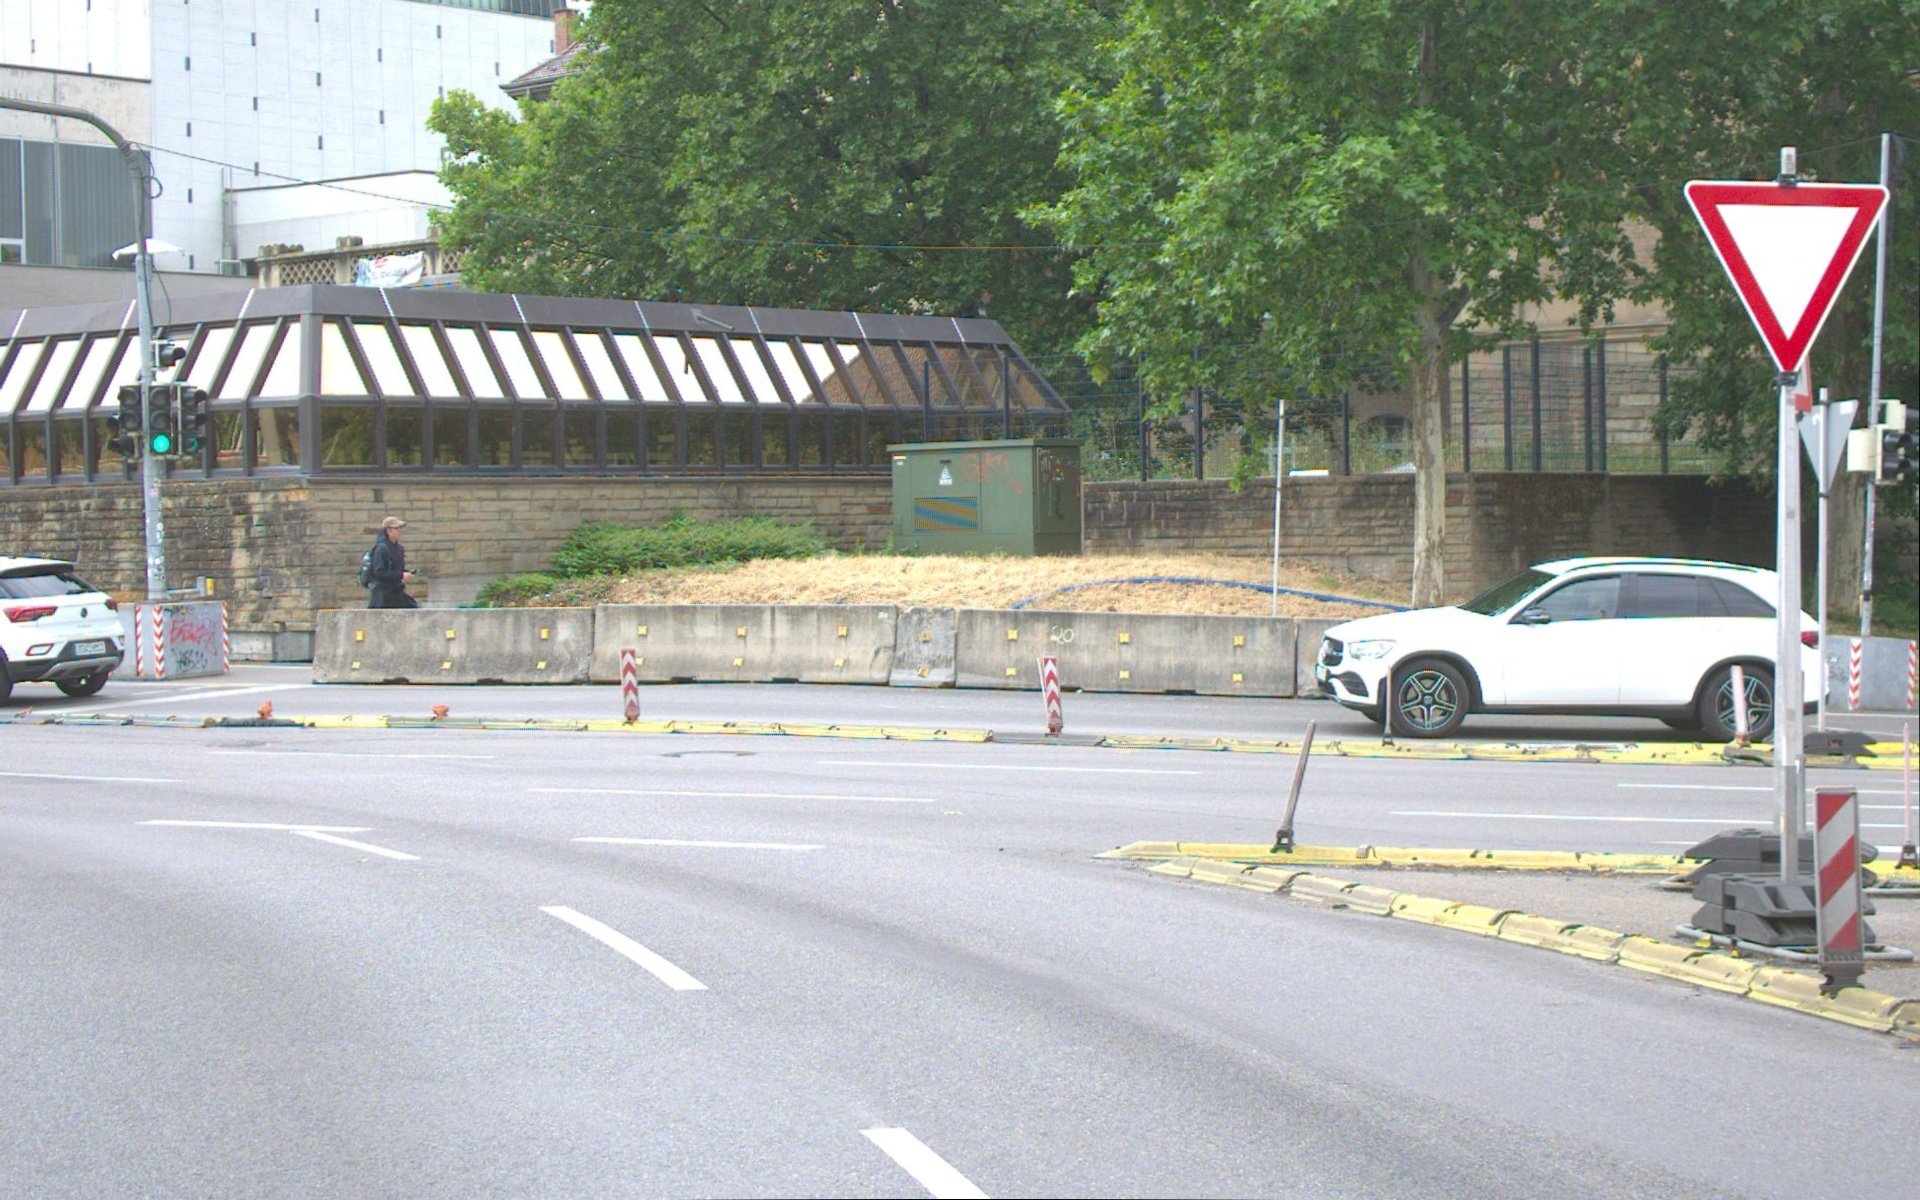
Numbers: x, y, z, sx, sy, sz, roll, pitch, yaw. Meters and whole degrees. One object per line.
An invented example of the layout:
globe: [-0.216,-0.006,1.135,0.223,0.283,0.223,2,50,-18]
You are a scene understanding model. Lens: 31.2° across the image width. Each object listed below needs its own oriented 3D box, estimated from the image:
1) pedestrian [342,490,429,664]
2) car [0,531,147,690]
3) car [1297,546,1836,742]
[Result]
pedestrian: [-6.718,-0.270,40.202,0.848,2.007,0.623,-1,0,6]
car: [-11.127,0.135,37.113,4.322,1.562,1.754,-1,3,24]
car: [5.528,0.386,31.661,4.536,1.637,1.818,1,2,-5]
